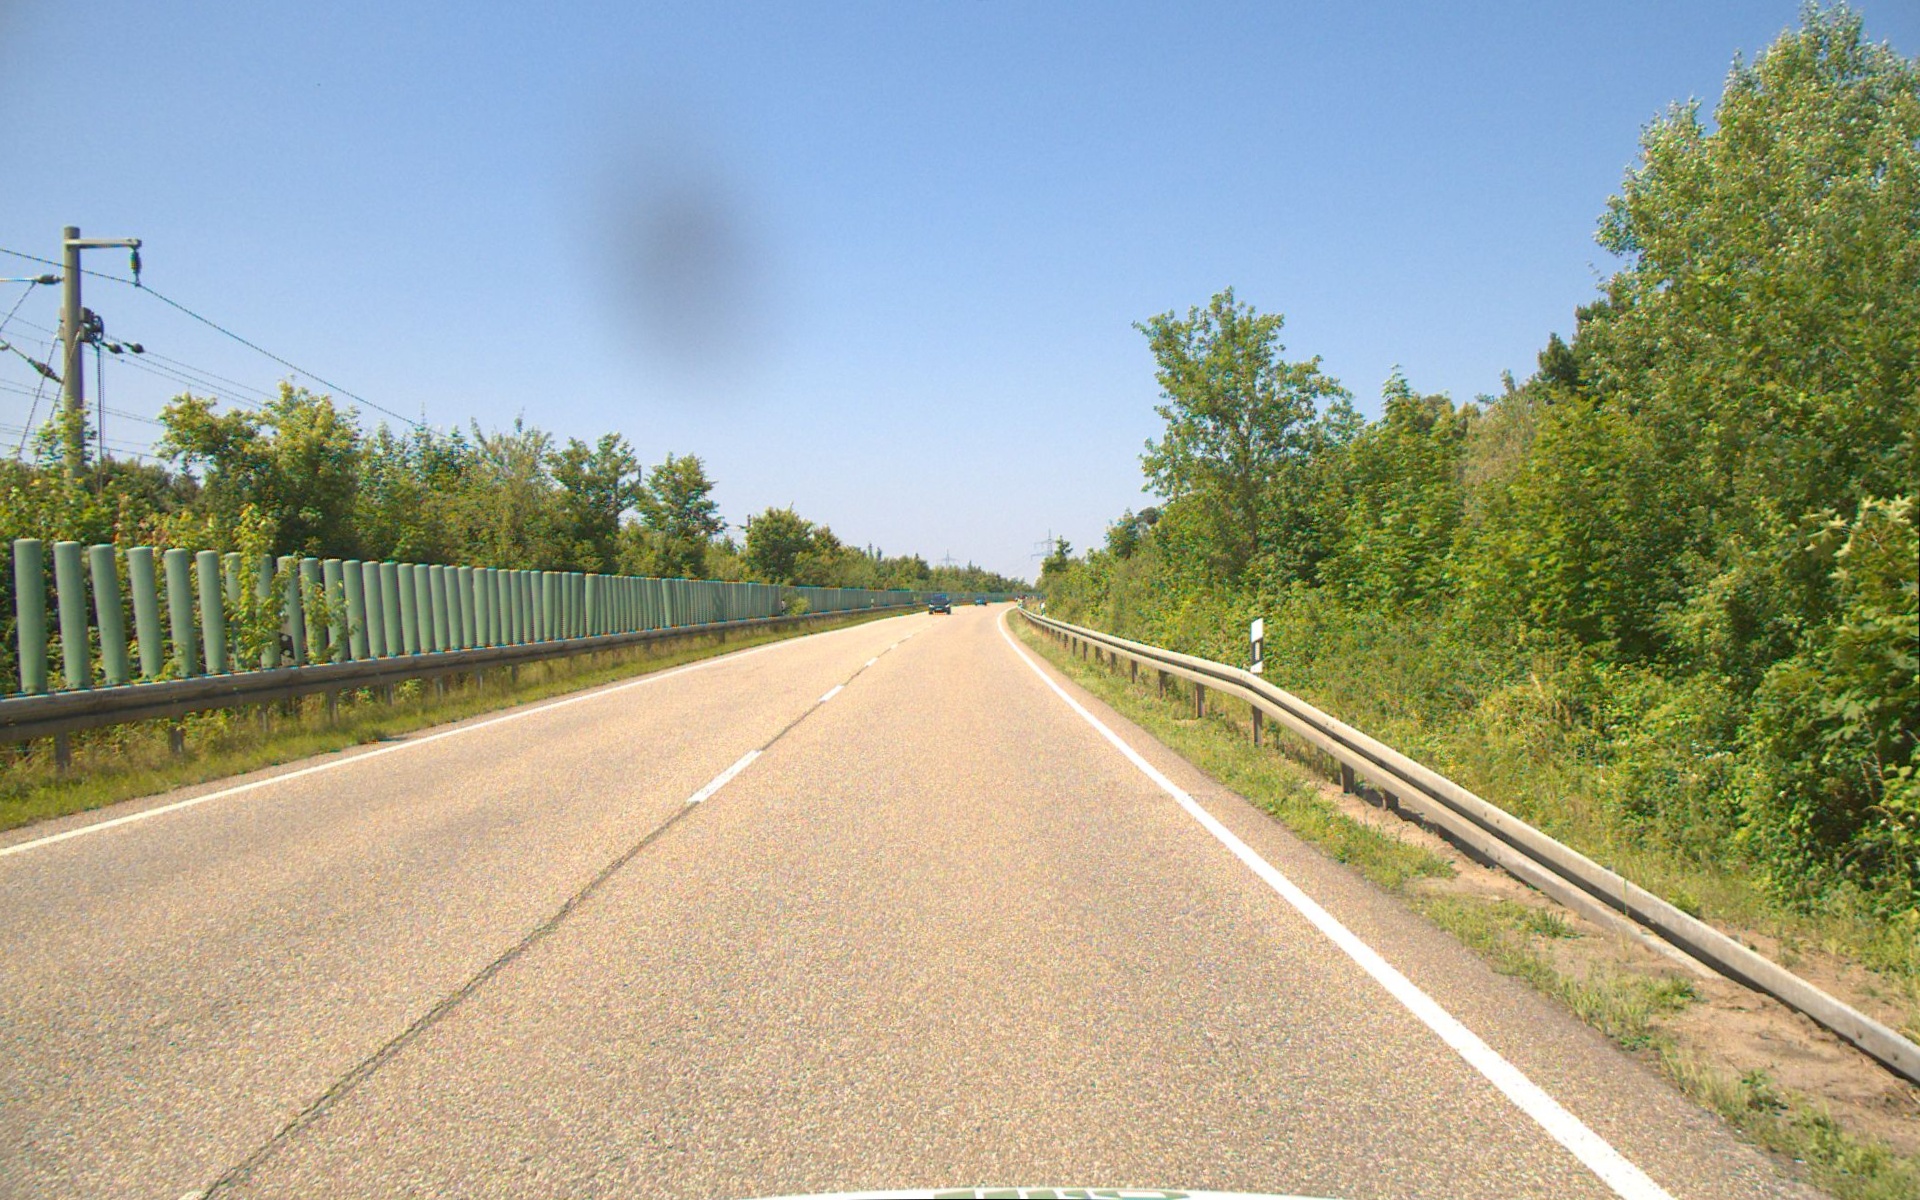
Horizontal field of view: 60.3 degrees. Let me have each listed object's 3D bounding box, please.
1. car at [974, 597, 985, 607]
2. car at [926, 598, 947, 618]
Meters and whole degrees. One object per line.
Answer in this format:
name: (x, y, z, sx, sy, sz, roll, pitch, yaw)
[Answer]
car: (2.934, 0.275, 247.714, 1.614, 1.505, 3.677, 0, 0, 0)
car: (-1.974, 0.667, 141.459, 1.728, 1.669, 4.126, 0, 0, 0)
